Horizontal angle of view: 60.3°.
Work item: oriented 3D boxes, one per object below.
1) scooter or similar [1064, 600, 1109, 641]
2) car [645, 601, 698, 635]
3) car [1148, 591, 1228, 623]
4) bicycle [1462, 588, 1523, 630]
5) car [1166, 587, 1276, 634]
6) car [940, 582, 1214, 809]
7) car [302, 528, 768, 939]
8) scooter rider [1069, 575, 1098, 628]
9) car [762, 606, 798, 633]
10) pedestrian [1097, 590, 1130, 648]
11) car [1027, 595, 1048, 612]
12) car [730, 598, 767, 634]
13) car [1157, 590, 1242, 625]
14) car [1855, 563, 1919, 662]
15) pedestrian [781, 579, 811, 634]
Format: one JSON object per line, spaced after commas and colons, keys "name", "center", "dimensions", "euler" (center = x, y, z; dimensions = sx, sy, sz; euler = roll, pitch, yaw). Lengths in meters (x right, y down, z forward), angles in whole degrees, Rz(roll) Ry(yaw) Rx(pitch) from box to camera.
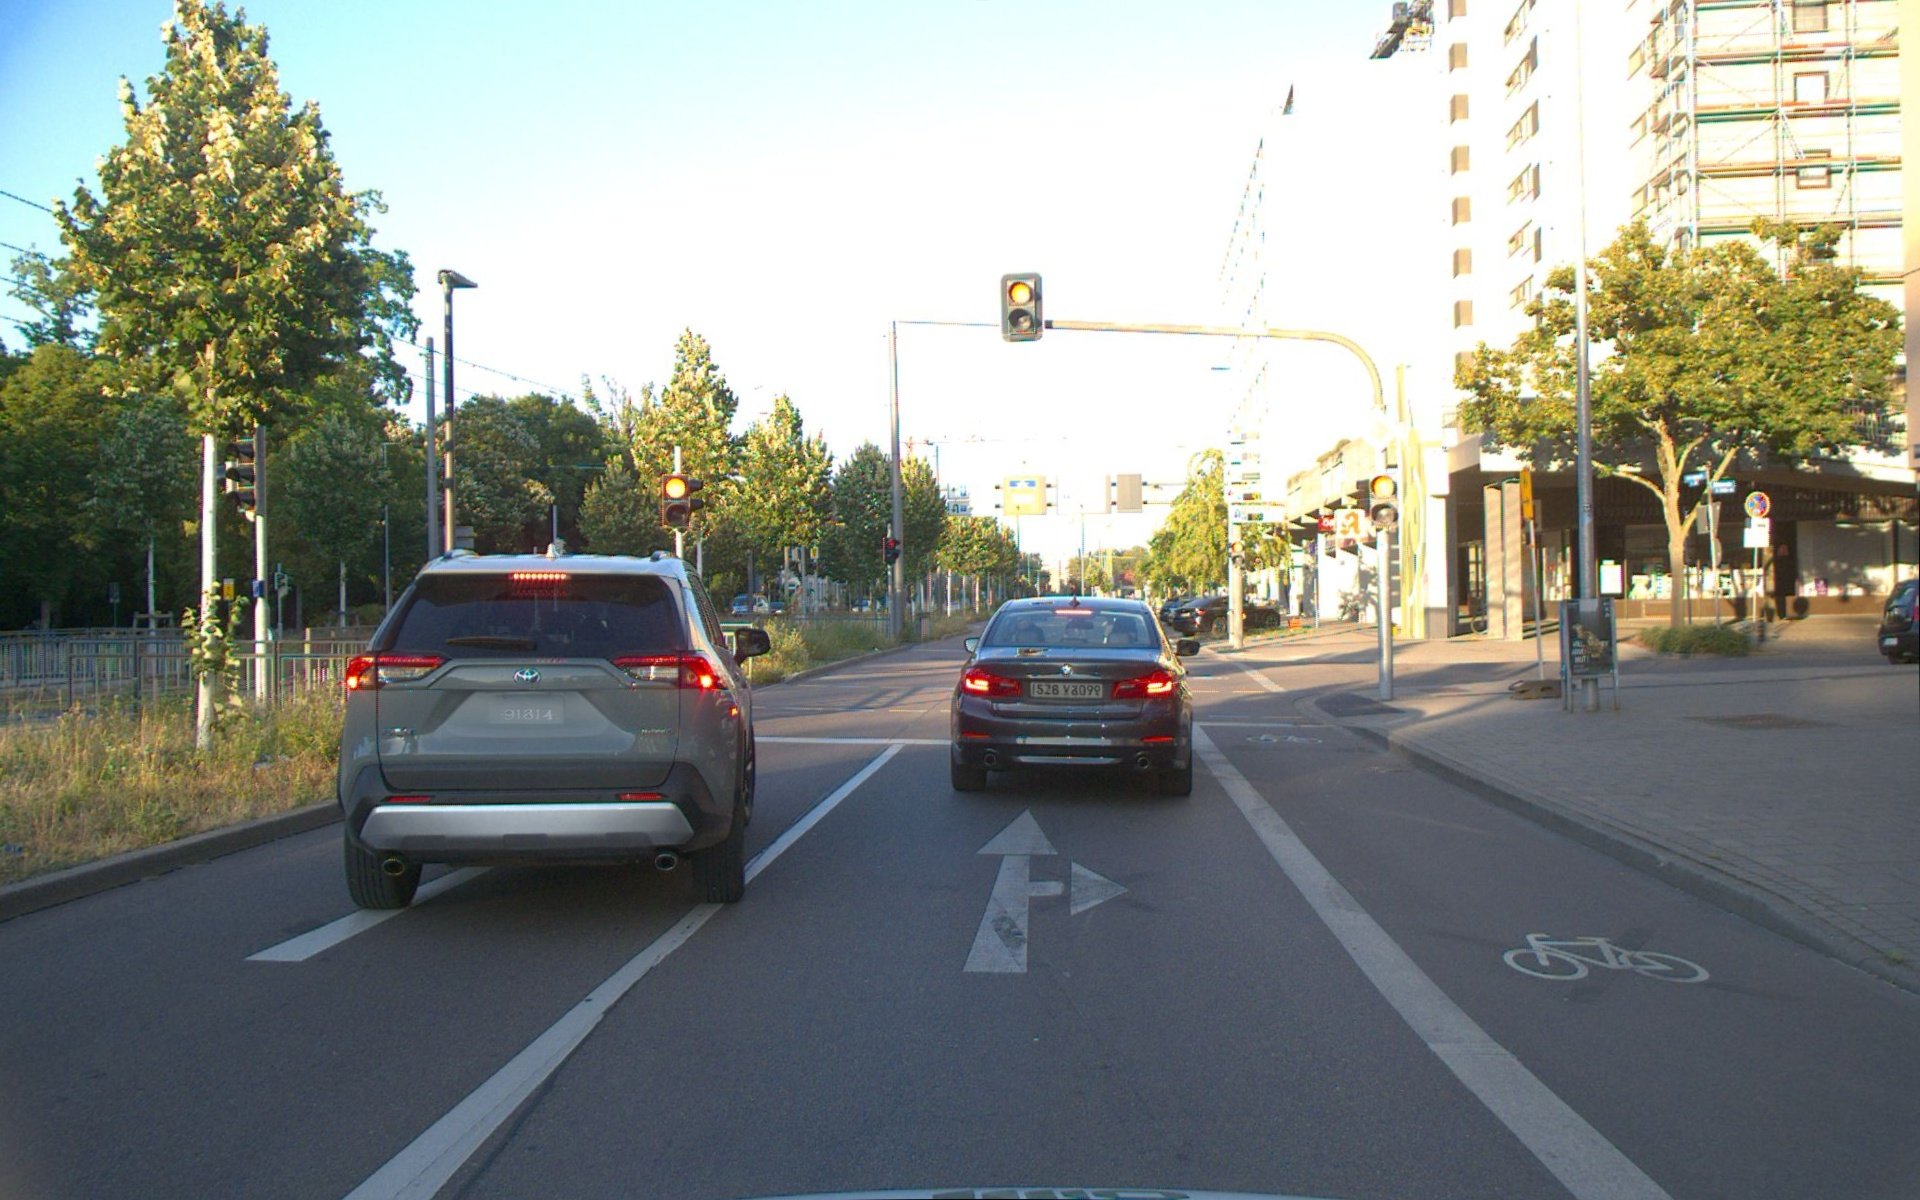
{"name": "scooter or similar", "center": [3.753, 0.604, 49.180], "dimensions": [1.301, 1.173, 0.514], "euler": [-1, 0, 4]}
{"name": "car", "center": [-16.213, 0.988, 93.139], "dimensions": [1.952, 1.775, 4.753], "euler": [0, 1, 2]}
{"name": "car", "center": [12.662, 0.389, 91.831], "dimensions": [4.212, 1.687, 1.841], "euler": [-1, 1, -32]}
{"name": "bicycle", "center": [15.374, 0.261, 47.784], "dimensions": [0.677, 1.169, 2.015], "euler": [2, -1, -15]}
{"name": "car", "center": [10.033, 0.356, 63.382], "dimensions": [4.227, 1.687, 1.835], "euler": [-1, 2, -39]}
{"name": "car", "center": [1.002, 0.632, 13.724], "dimensions": [1.891, 1.507, 4.525], "euler": [0, 1, 5]}
{"name": "car", "center": [-1.997, 0.500, 8.996], "dimensions": [1.819, 1.687, 4.264], "euler": [0, 1, -6]}
{"name": "scooter rider", "center": [3.673, 0.040, 49.204], "dimensions": [0.803, 1.540, 0.653], "euler": [-1, 0, 4]}
{"name": "car", "center": [-13.206, 1.421, 121.552], "dimensions": [1.952, 1.775, 4.753], "euler": [0, 1, 2]}
{"name": "pedestrian", "center": [4.355, 0.541, 46.833], "dimensions": [0.818, 1.614, 0.812], "euler": [-1, 0, -1]}
{"name": "car", "center": [7.229, 0.330, 154.049], "dimensions": [1.937, 1.458, 4.845], "euler": [0, 1, 4]}
{"name": "car", "center": [-13.888, 1.055, 108.791], "dimensions": [1.953, 2.205, 4.749], "euler": [0, 1, -2]}
{"name": "car", "center": [12.396, 0.374, 85.667], "dimensions": [4.213, 1.687, 1.840], "euler": [-1, 1, -32]}
{"name": "car", "center": [17.618, 0.146, 27.938], "dimensions": [3.955, 1.613, 1.707], "euler": [-3, -3, 8]}
{"name": "pedestrian", "center": [-5.239, 0.217, 52.935], "dimensions": [0.817, 1.742, 0.648], "euler": [-1, 0, 2]}
